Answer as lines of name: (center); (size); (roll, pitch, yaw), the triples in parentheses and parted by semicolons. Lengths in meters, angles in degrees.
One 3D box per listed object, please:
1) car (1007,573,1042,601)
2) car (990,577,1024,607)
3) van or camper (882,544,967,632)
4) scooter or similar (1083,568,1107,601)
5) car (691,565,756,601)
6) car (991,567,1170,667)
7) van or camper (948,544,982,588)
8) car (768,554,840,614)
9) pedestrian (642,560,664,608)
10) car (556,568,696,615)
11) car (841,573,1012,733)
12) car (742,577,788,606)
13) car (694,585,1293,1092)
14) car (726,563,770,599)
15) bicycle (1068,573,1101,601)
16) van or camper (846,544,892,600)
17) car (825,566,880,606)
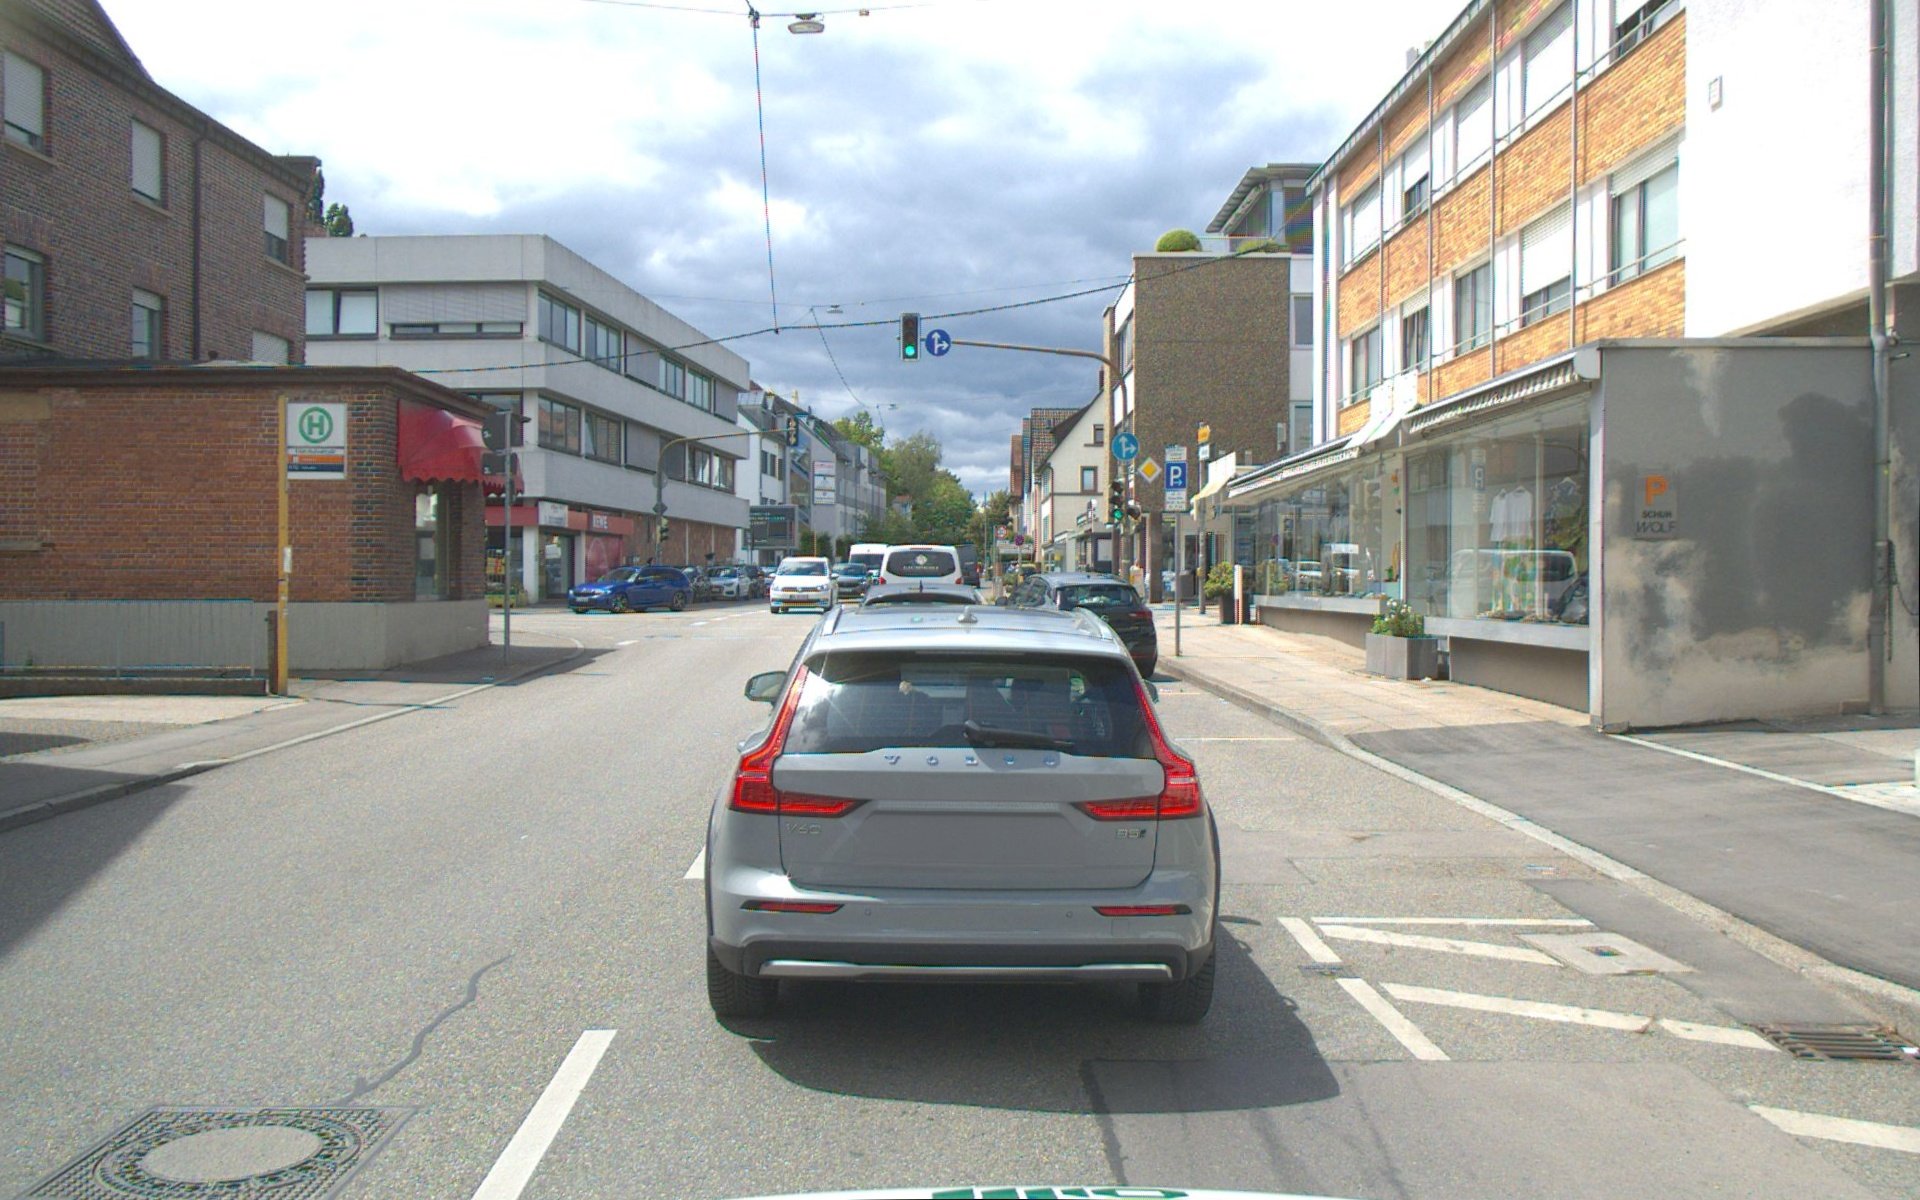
car: (3.679, -0.726, 94.758); (1.676, 1.490, 3.998); (1, 0, -2)
car: (2.091, -0.370, 74.439); (1.409, 1.310, 3.247); (0, 0, -1)
van or camper: (-0.774, -0.249, 36.922); (1.782, 1.867, 3.999); (0, 0, -1)
scooter or similar: (5.407, -0.617, 66.474); (0.336, 1.275, 1.235); (-3, 0, -26)
car: (-10.115, -0.754, 71.141); (1.864, 1.468, 4.445); (1, 1, 4)
car: (1.702, 0.227, 24.620); (1.775, 1.370, 3.708); (0, 0, -11)
van or camper: (0.325, -2.213, 106.604); (2.080, 2.733, 4.782); (-1, 1, 0)
car: (-4.570, -0.499, 48.839); (1.739, 1.640, 4.120); (-1, 2, -1)
pedestrian: (-10.810, -0.571, 58.201); (0.606, 1.670, 0.660); (-1, 1, 1)
car: (-10.470, -0.293, 52.195); (1.956, 1.361, 4.349); (0, 1, 30)
car: (-0.346, 0.486, 17.633); (1.617, 1.508, 3.607); (1, 1, -1)
car: (-9.774, -0.426, 83.245); (1.719, 1.451, 3.863); (0, 0, 2)
car: (0.075, 0.711, 6.961); (1.798, 1.512, 3.999); (0, 0, -1)
car: (-9.855, -0.906, 77.041); (1.574, 1.570, 2.945); (2, 1, 0)
bicycle: (5.254, -0.554, 69.819); (0.546, 1.164, 2.288); (-1, 1, -18)
van or camper: (-4.422, -1.394, 80.706); (2.105, 2.600, 5.436); (-1, 2, -2)
car: (-4.214, -0.551, 65.293); (1.753, 1.537, 3.846); (0, 0, 2)
